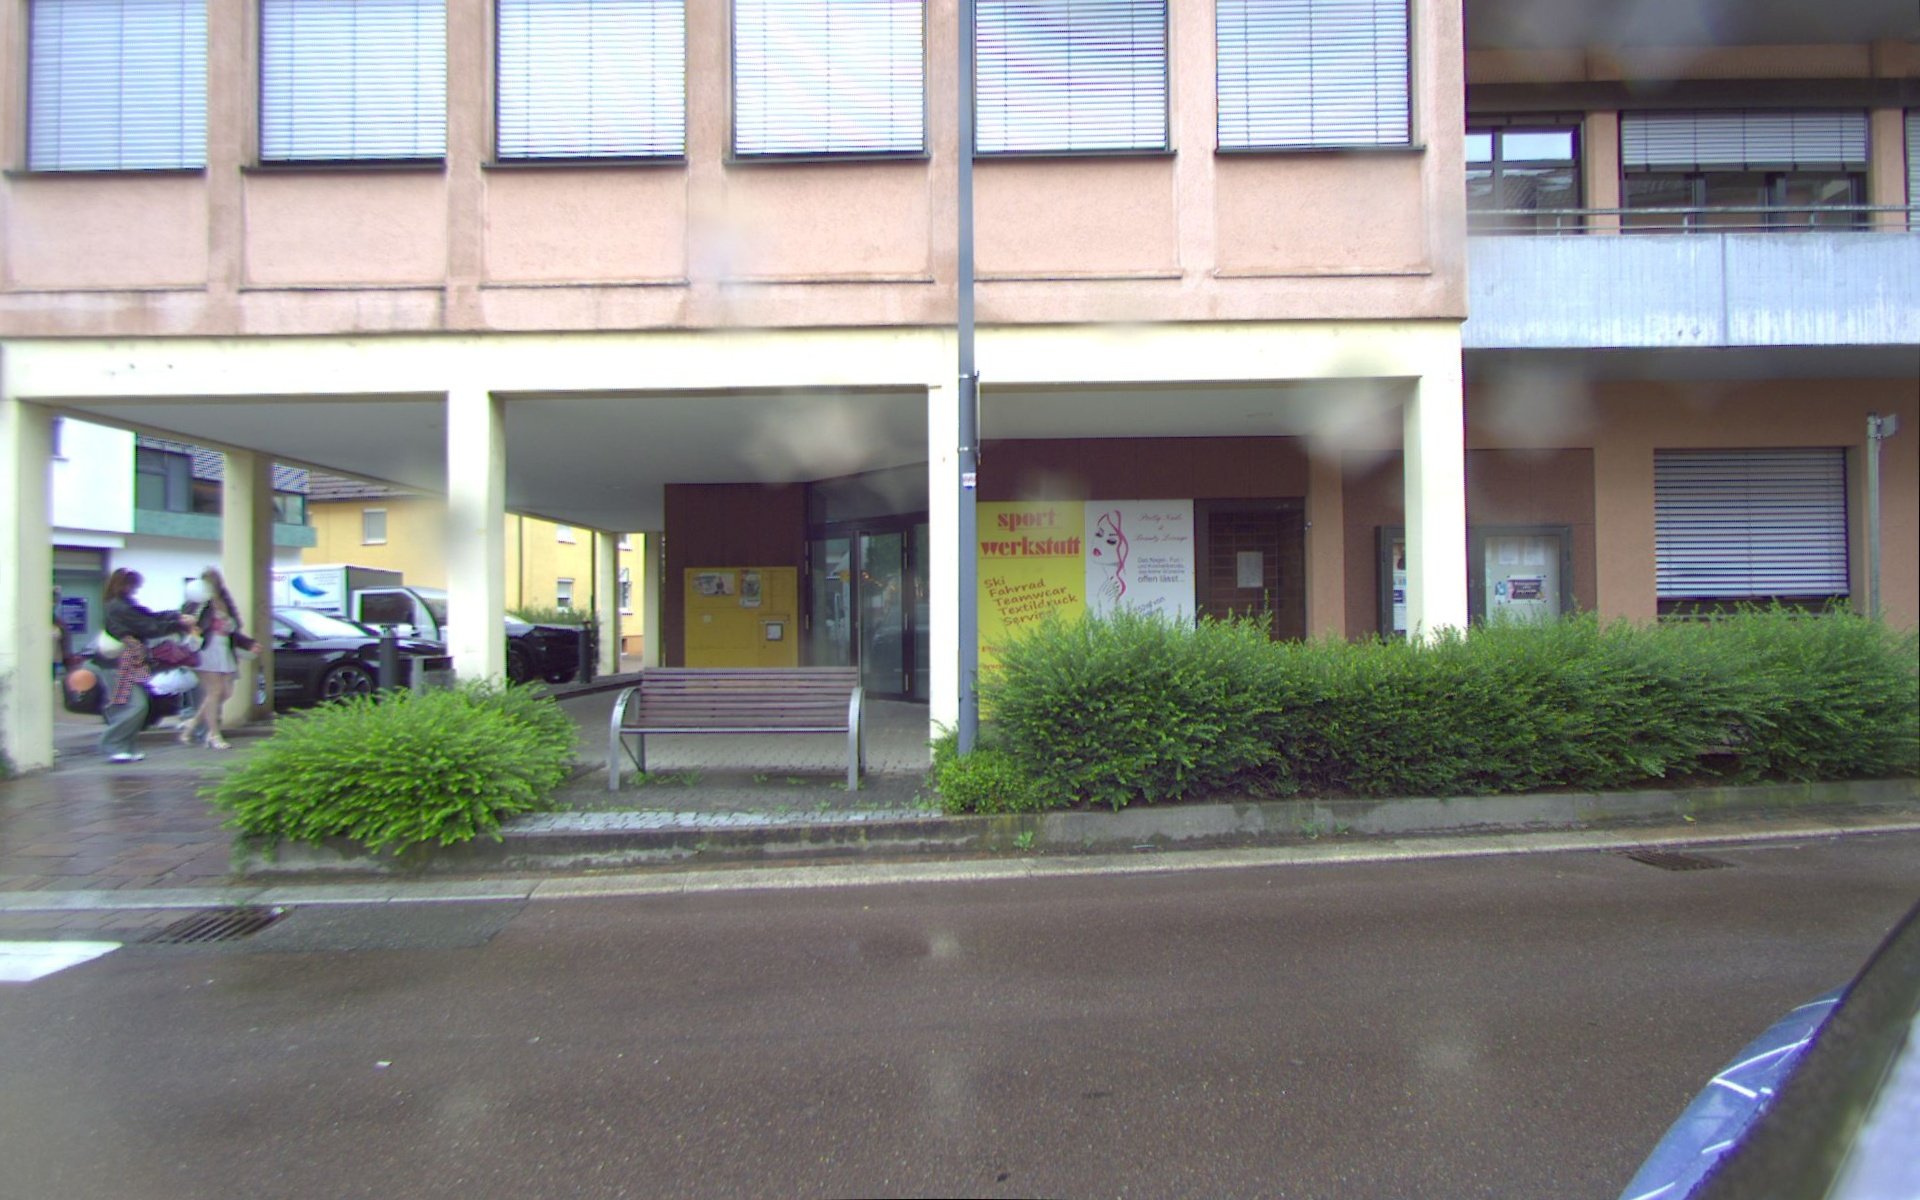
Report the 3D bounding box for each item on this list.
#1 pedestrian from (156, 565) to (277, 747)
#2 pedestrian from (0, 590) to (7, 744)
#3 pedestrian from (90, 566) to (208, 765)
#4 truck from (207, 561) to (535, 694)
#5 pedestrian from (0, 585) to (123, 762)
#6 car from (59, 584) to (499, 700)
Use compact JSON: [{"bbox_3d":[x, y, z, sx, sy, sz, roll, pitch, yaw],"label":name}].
[{"bbox_3d":[-7.309,0.530,9.979,0.718,1.711,0.726,-1,-1,-11],"label":"pedestrian"},{"bbox_3d":[-11.046,0.747,11.035,0.729,1.711,0.635,-1,-1,3],"label":"pedestrian"},{"bbox_3d":[-7.295,0.556,9.111,0.806,1.682,0.697,0,-1,-40],"label":"pedestrian"},{"bbox_3d":[-8.690,0.388,15.163,3.926,1.831,1.767,-1,0,2],"label":"truck"},{"bbox_3d":[-8.799,0.674,9.764,0.811,1.624,0.744,0,2,7],"label":"pedestrian"},{"bbox_3d":[-8.341,0.497,12.644,4.389,1.292,1.767,-1,0,3],"label":"car"}]
